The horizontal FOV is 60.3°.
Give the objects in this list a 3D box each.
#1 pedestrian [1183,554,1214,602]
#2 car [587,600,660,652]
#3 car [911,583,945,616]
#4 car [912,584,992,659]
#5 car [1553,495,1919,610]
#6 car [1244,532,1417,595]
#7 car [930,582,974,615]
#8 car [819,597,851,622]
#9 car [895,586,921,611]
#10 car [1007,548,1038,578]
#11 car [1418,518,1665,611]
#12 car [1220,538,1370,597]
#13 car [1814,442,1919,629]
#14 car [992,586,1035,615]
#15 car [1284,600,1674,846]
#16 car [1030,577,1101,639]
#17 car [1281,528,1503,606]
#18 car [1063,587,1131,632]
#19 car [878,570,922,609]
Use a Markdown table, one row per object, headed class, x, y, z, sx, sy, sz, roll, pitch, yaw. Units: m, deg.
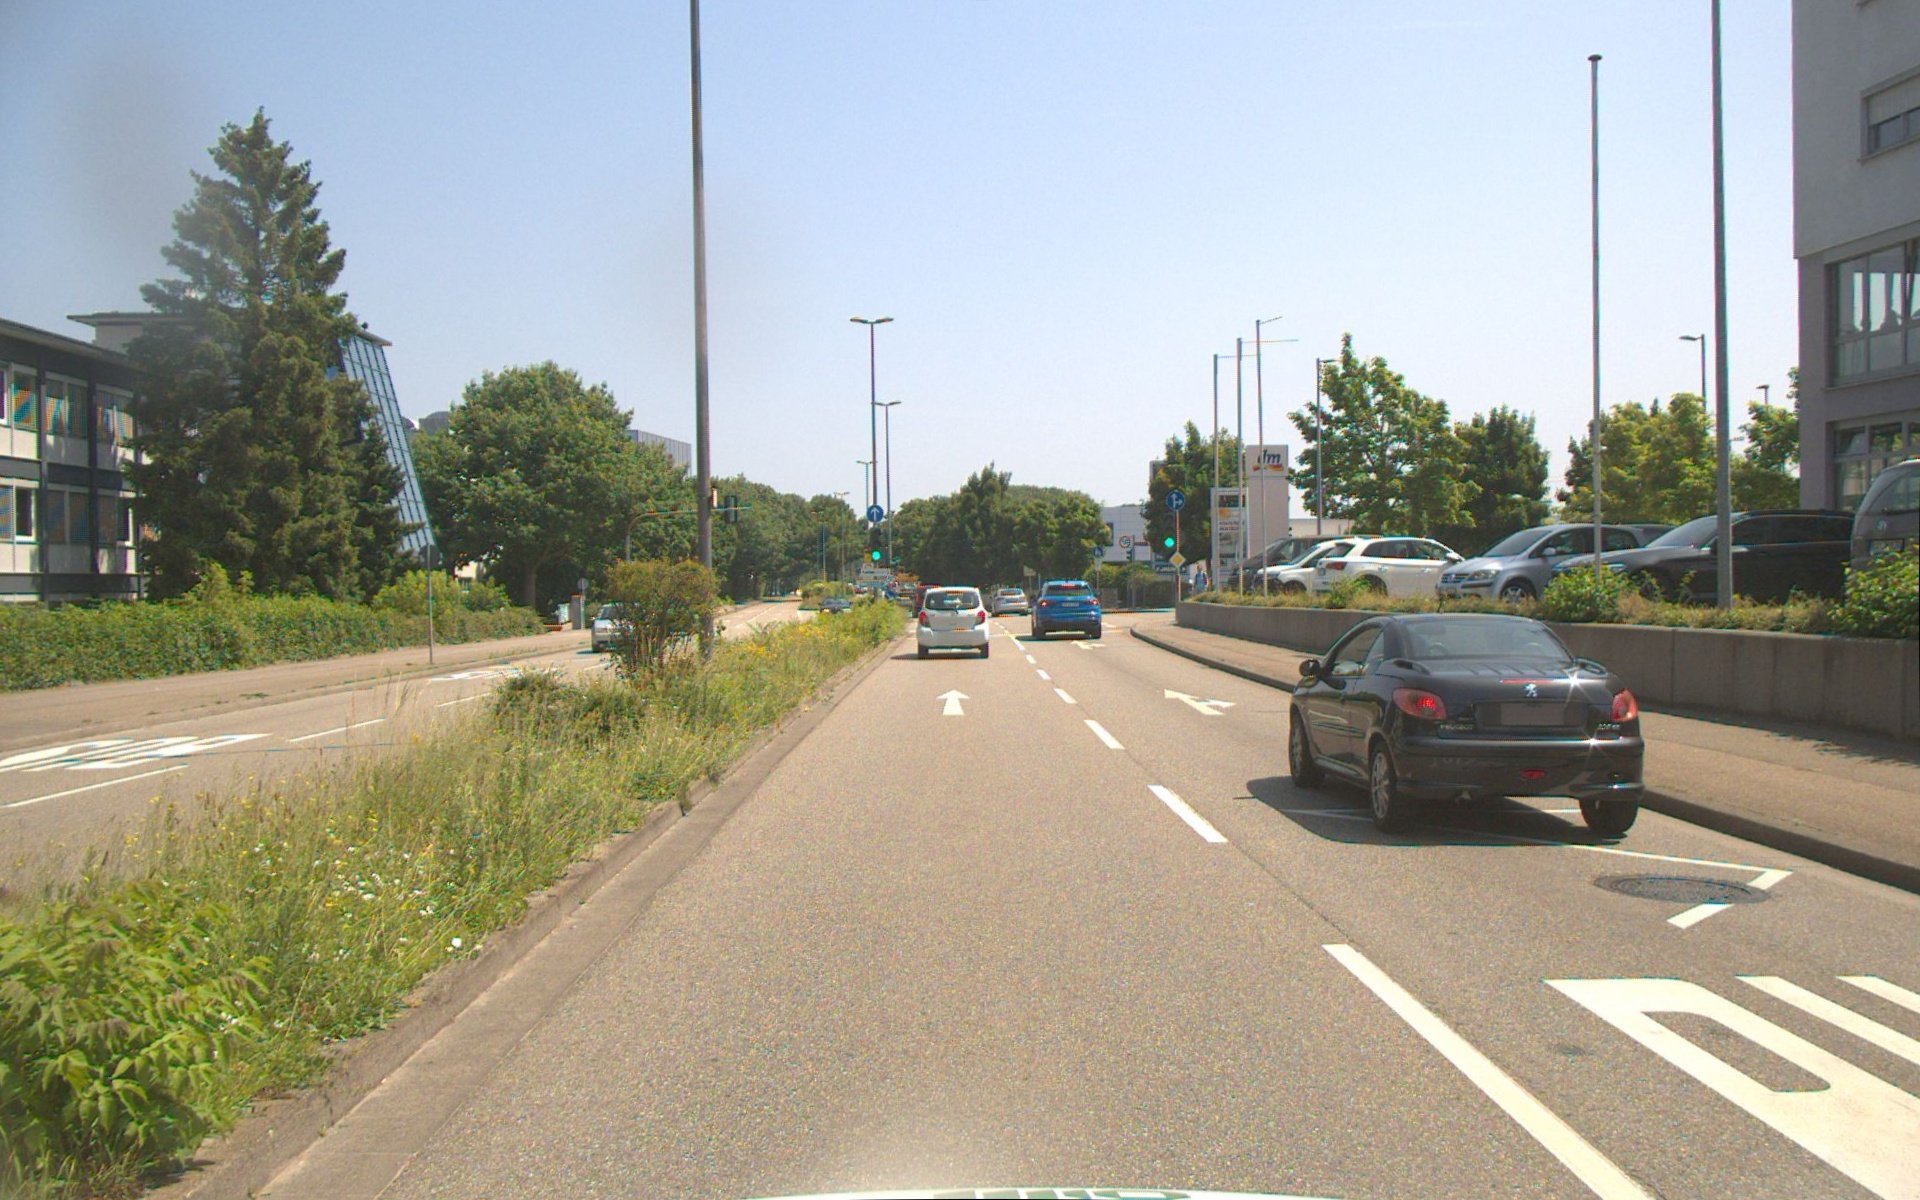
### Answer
| class | x | y | z | sx | sy | sz | roll | pitch | yaw |
| --- | --- | --- | --- | --- | --- | --- | --- | --- | --- |
| pedestrian | 8.290 | -0.768 | 57.470 | 0.759 | 1.636 | 1.084 | -1 | 0 | 26 |
| car | -10.176 | 0.758 | 50.315 | 1.702 | 1.437 | 4.366 | -1 | 0 | -6 |
| car | -1.861 | -0.032 | 94.809 | 1.741 | 1.770 | 3.996 | -1 | 0 | -4 |
| car | -0.160 | 0.440 | 37.379 | 1.712 | 1.546 | 3.746 | 0 | 1 | 0 |
| car | 10.700 | -0.636 | 22.881 | 4.234 | 1.392 | 1.999 | -2 | 0 | -3 |
| car | 10.233 | -0.999 | 45.897 | 4.260 | 1.571 | 1.999 | -2 | 0 | -3 |
| car | -0.412 | -0.086 | 78.473 | 1.953 | 1.467 | 3.999 | -1 | 0 | -2 |
| car | -6.634 | 0.494 | 87.536 | 1.544 | 1.291 | 3.725 | -1 | 0 | -6 |
| car | -3.697 | -0.141 | 118.617 | 1.761 | 1.719 | 3.999 | -2 | 0 | -2 |
| car | 4.396 | -2.621 | 116.994 | 1.735 | 2.048 | 3.987 | -2 | 1 | -5 |
| car | 10.235 | -0.622 | 29.142 | 3.863 | 1.477 | 1.755 | -2 | 0 | -19 |
| car | 9.827 | -0.952 | 48.712 | 3.908 | 1.571 | 1.999 | -2 | 0 | -3 |
| car | 10.632 | -0.646 | 15.563 | 4.142 | 1.676 | 1.999 | -2 | 0 | -2 |
| car | 2.745 | 0.011 | 85.357 | 1.953 | 1.445 | 3.999 | -2 | 0 | -2 |
| car | 3.472 | 0.744 | 11.747 | 1.594 | 1.387 | 3.605 | 1 | 1 | -1 |
| car | 2.945 | 0.191 | 46.738 | 1.790 | 1.607 | 3.606 | -1 | 1 | 0 |
| car | 9.710 | -0.741 | 37.372 | 4.444 | 1.571 | 1.999 | -2 | 0 | -2 |
| car | 4.535 | 0.306 | 54.499 | 1.427 | 1.400 | 3.493 | -1 | 0 | 18 |
| car | -2.829 | -0.522 | 77.465 | 1.784 | 1.690 | 3.996 | -1 | 2 | -5 |
